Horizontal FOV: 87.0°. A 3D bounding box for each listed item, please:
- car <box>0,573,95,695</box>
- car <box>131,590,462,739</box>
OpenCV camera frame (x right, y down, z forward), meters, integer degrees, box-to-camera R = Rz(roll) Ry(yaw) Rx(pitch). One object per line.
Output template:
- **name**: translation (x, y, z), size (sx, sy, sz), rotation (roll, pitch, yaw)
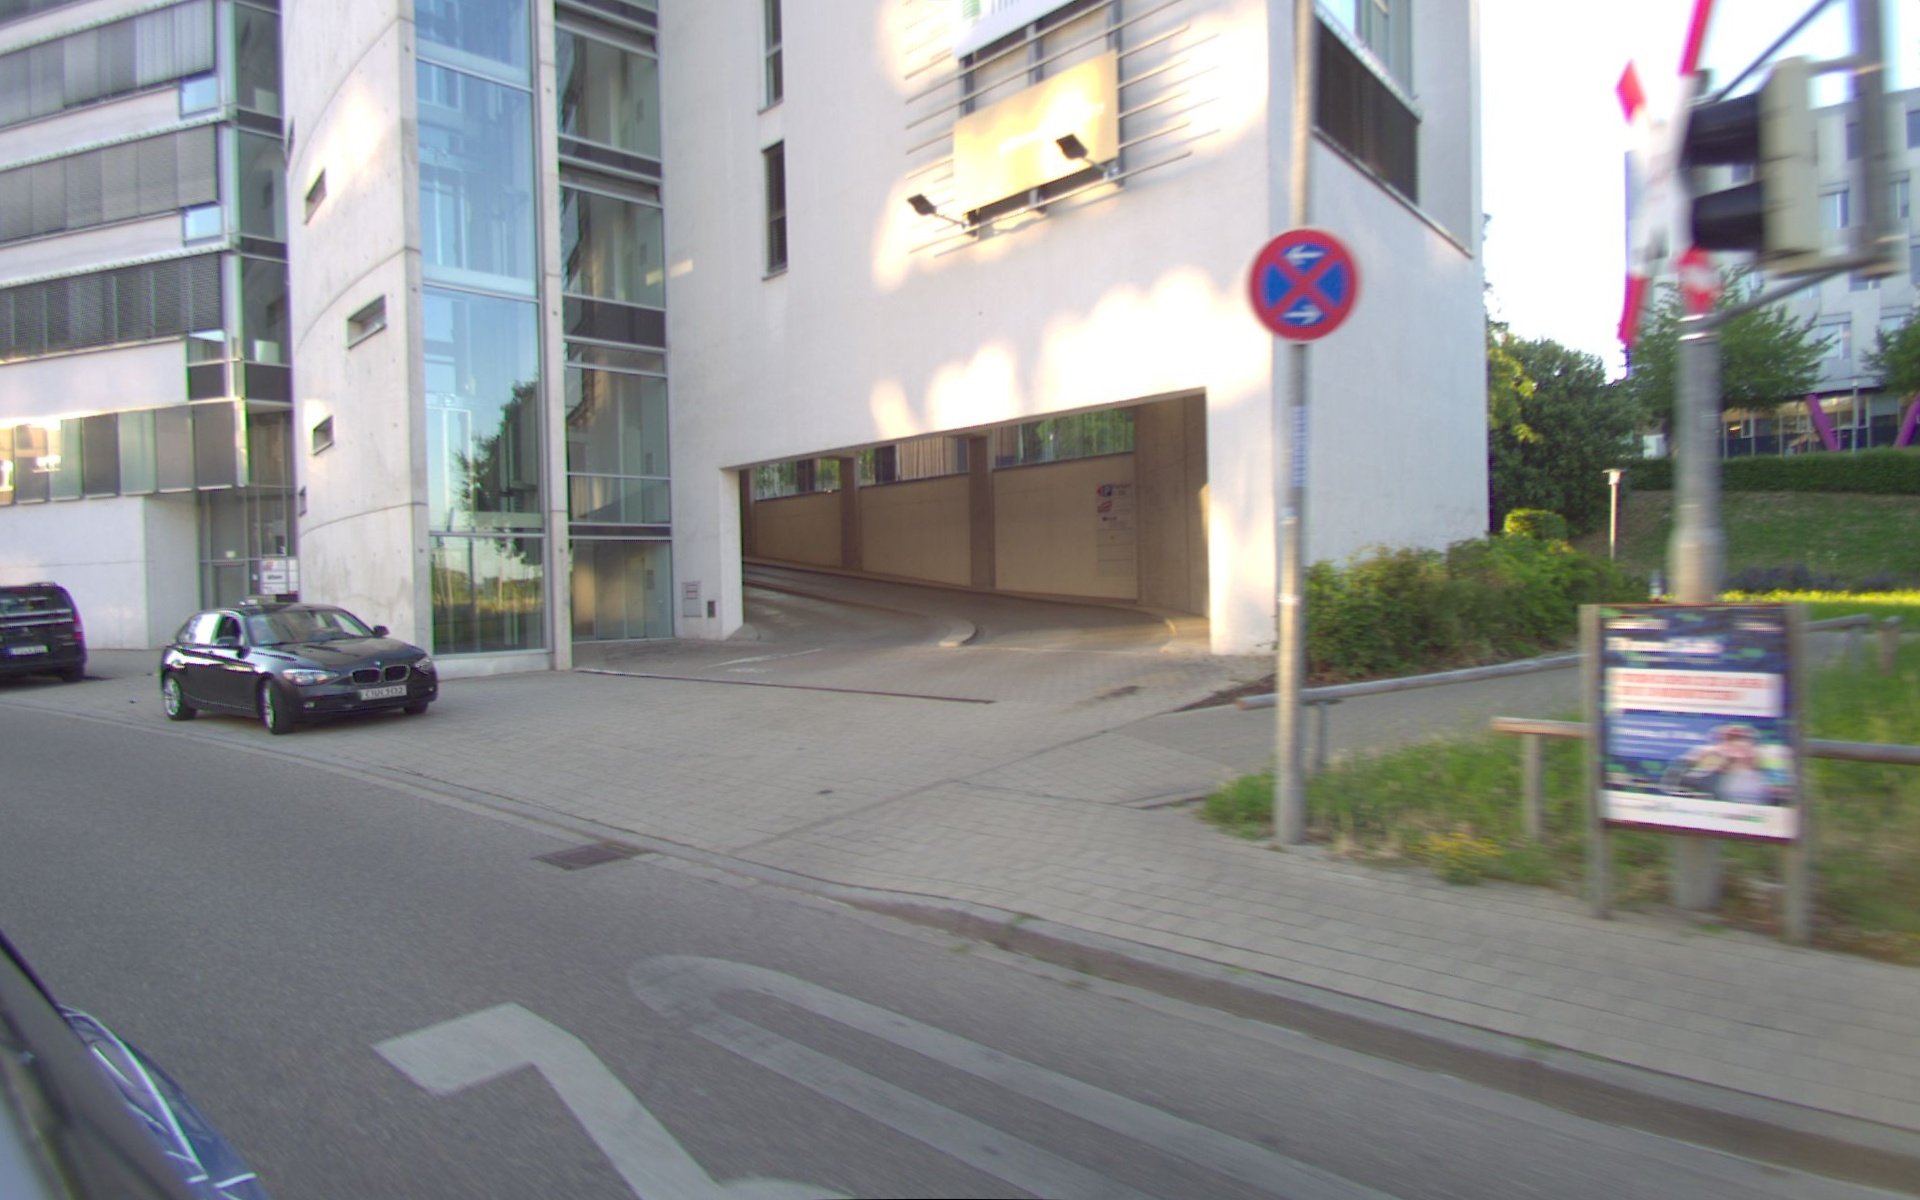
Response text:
- **car**: translation (-17.833, 0.616, 18.370), size (4.502, 1.987, 1.875), rotation (-1, 3, 32)
- **car**: translation (-8.229, 0.695, 12.457), size (4.216, 1.452, 1.838), rotation (-1, 3, 33)
